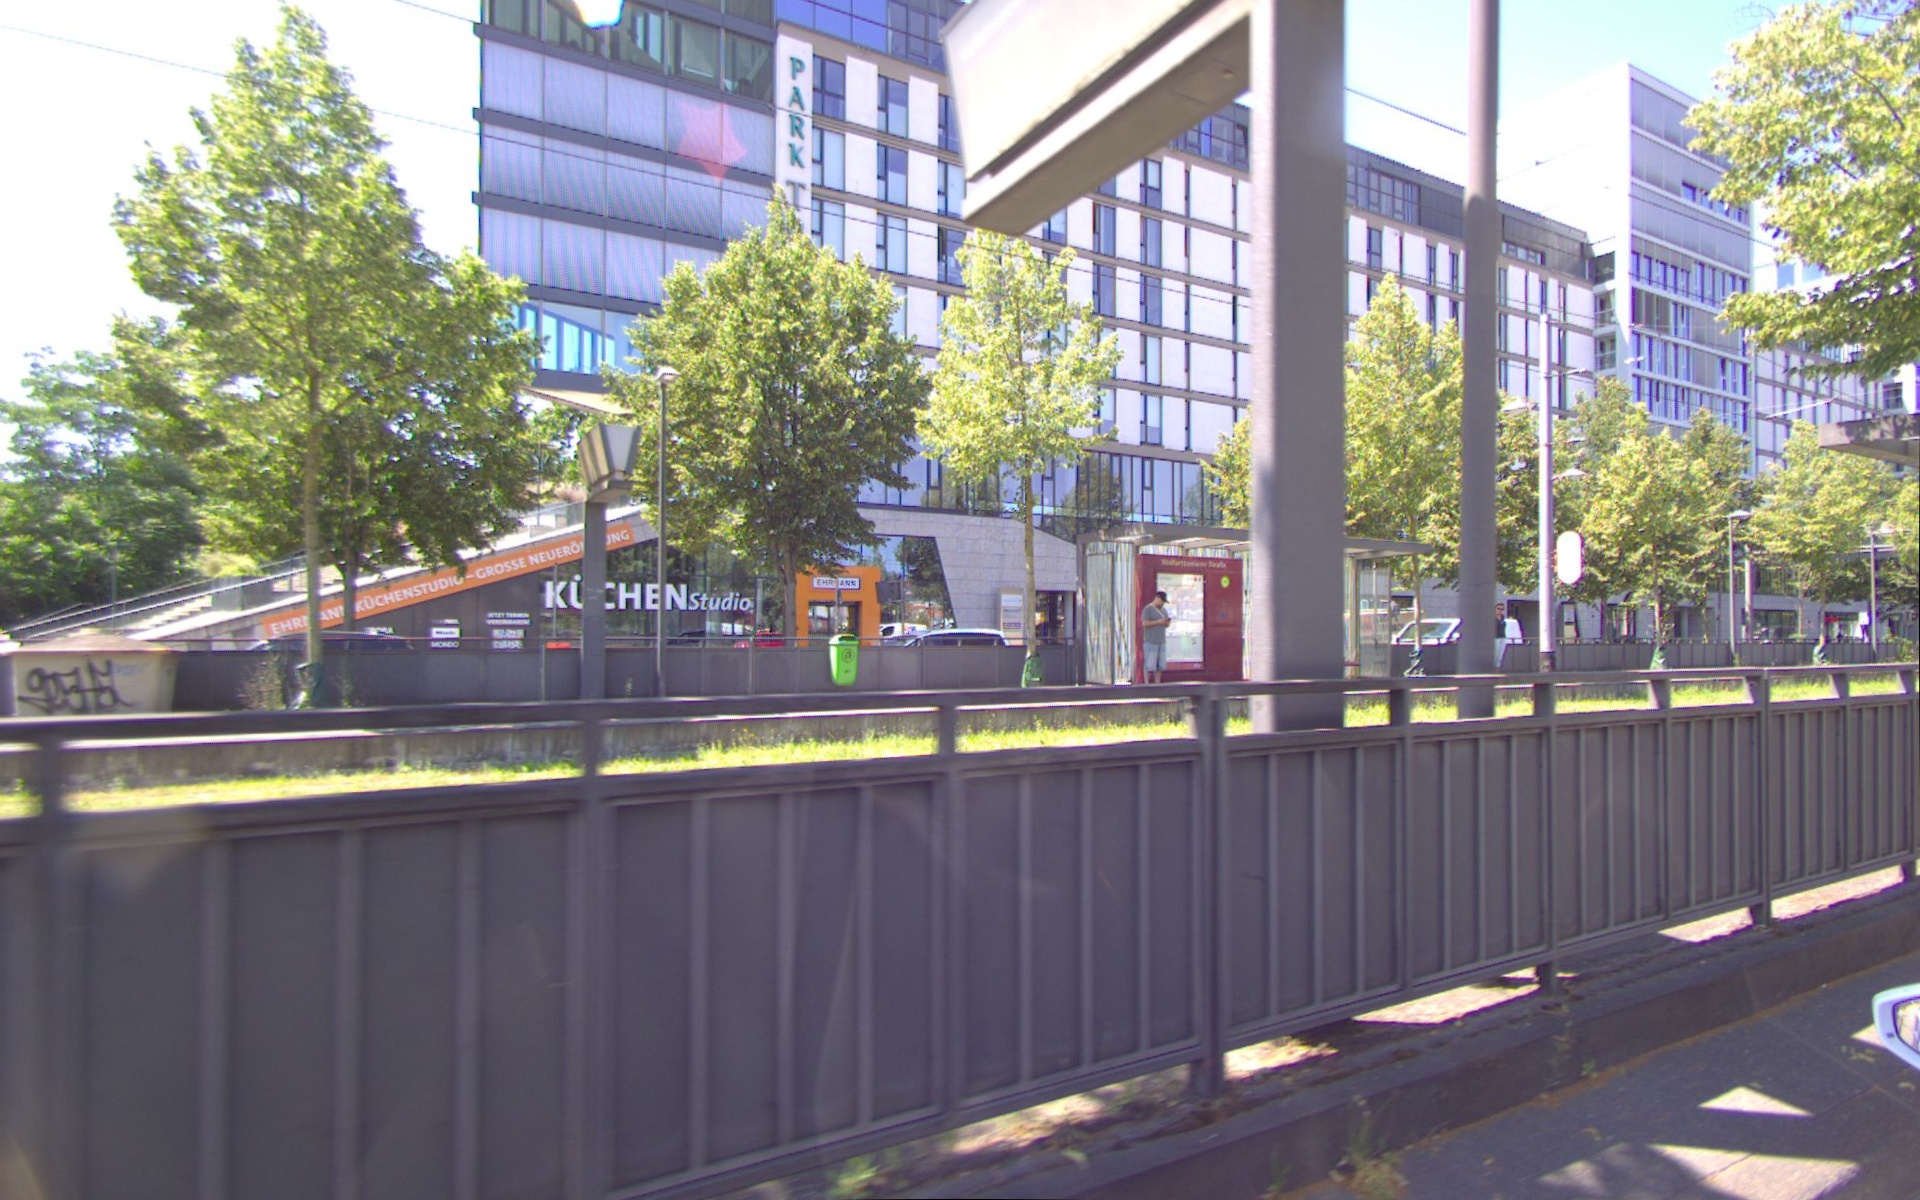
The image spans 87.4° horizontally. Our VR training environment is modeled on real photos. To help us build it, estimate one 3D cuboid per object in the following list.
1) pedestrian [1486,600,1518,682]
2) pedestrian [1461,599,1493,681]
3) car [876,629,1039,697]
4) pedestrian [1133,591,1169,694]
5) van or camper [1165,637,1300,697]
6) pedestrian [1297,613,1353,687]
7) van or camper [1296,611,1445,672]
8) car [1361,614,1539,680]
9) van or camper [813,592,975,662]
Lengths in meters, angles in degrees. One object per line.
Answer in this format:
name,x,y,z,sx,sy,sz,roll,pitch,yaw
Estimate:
pedestrian,12.020,0.906,22.284,0.579,1.775,0.407,2,-2,-33
pedestrian,11.314,0.875,21.985,0.579,1.775,0.407,2,-2,-33
car,-0.036,1.574,25.586,3.914,1.637,1.564,2,-2,-29
pedestrian,3.309,0.730,17.374,0.458,1.762,0.477,0,-2,32
van or camper,7.111,1.707,26.164,3.388,1.446,1.469,2,-2,-30
pedestrian,7.227,0.986,19.886,0.634,1.432,0.830,2,-2,-30
van or camper,17.320,1.739,42.232,6.692,2.417,2.167,2,-2,-30
car,14.810,1.405,30.339,5.009,1.829,2.452,2,-2,-29
van or camper,-2.818,1.254,43.871,6.713,2.859,2.362,2,-2,-32
